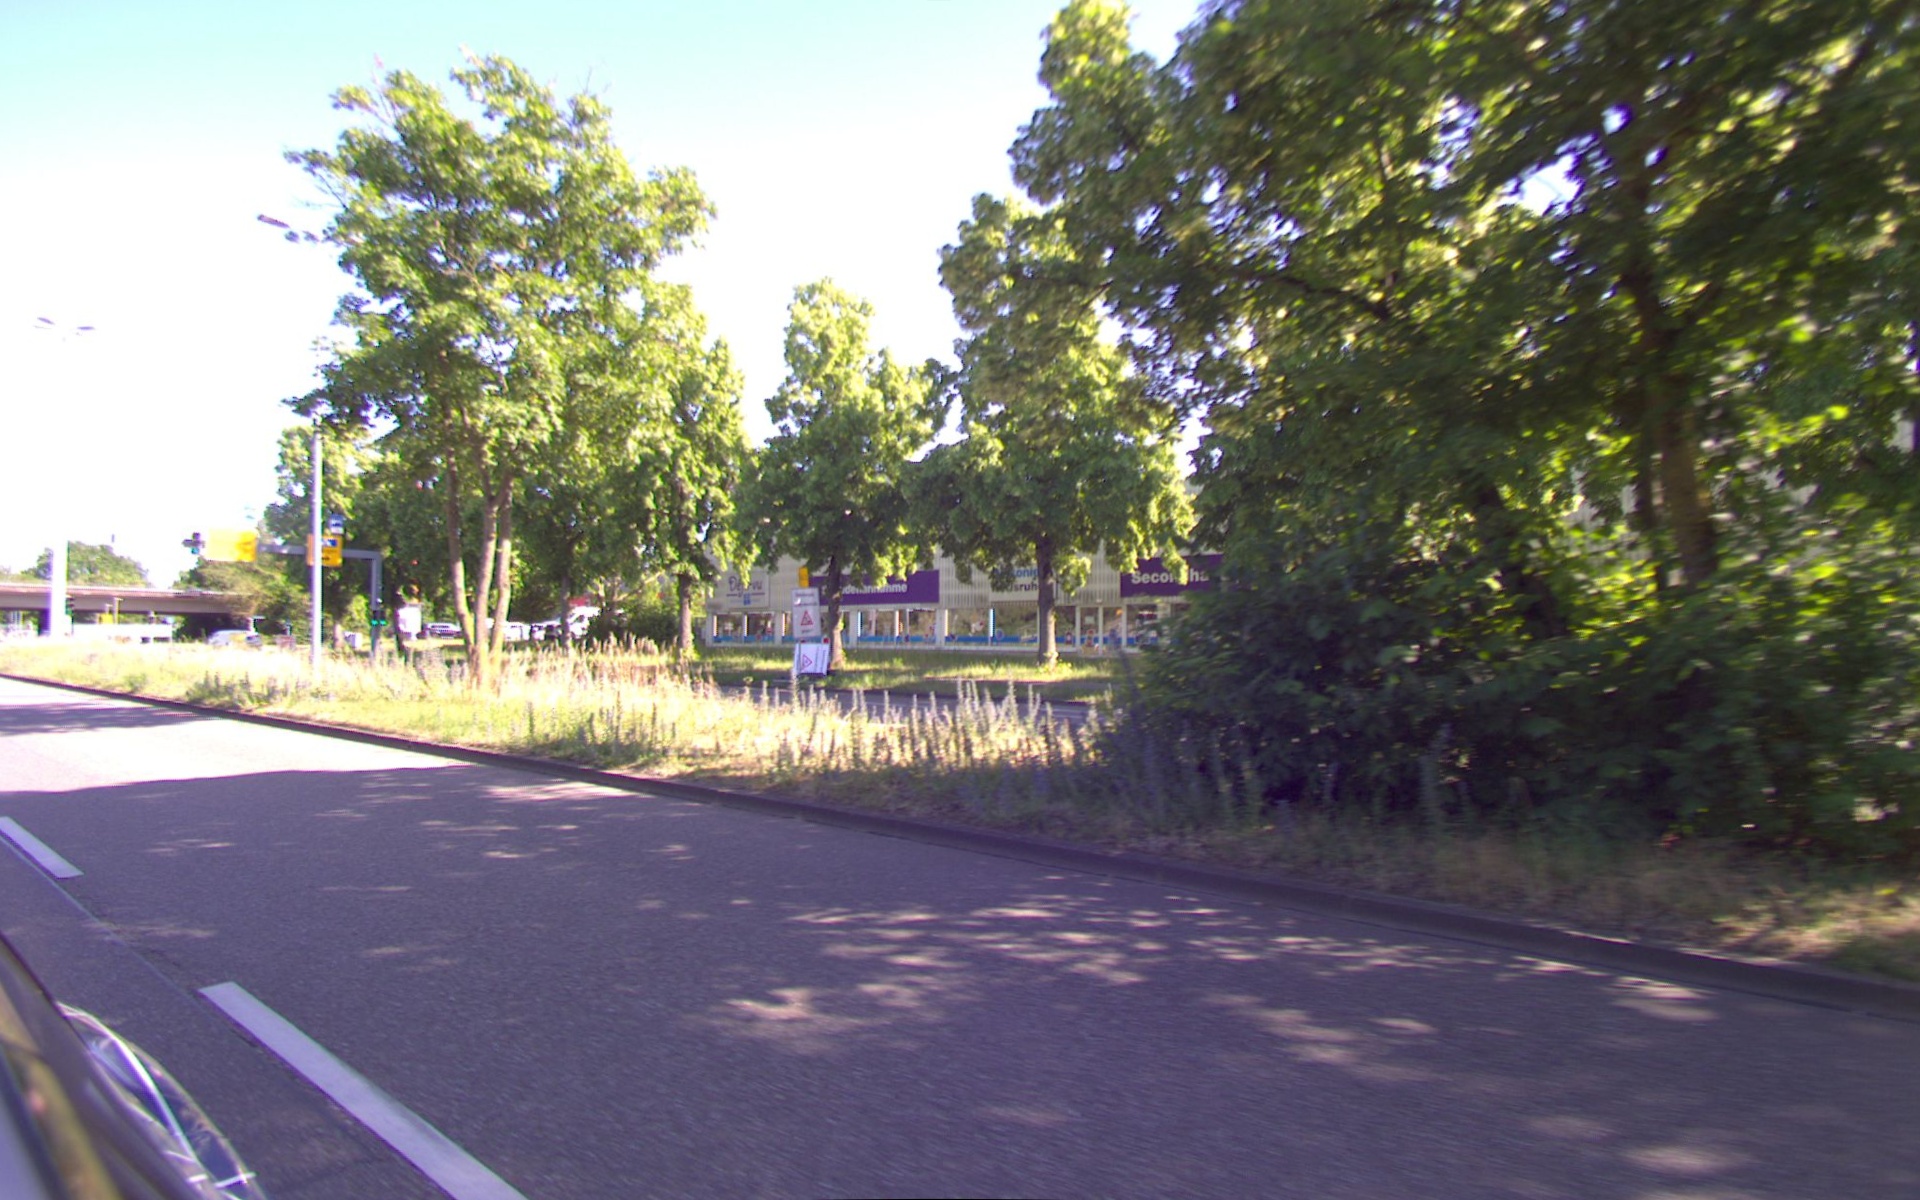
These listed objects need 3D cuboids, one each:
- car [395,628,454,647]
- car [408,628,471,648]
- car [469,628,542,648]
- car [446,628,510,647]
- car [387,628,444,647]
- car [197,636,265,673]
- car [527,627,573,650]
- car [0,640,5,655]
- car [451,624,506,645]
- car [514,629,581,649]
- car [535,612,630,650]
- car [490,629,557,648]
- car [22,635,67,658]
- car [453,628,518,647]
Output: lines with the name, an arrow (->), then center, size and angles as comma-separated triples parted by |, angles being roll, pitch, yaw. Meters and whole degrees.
car -> -45.597, 3.194, 86.286 | 1.819, 1.563, 4.071 | -2, -4, 44
car -> -42.184, 3.100, 82.101 | 1.946, 1.563, 4.073 | -2, -4, 42
car -> -34.155, 2.874, 76.166 | 1.945, 1.399, 4.572 | -2, -4, 40
car -> -37.645, 2.948, 79.135 | 1.944, 1.399, 4.078 | -2, -4, 38
car -> -47.296, 3.261, 87.956 | 4.066, 1.563, 1.899 | 3, -4, -40
car -> -36.114, 2.670, 50.108 | 4.161, 1.760, 1.689 | -2, -3, 39
car -> -36.564, 3.460, 90.182 | 5.130, 1.971, 1.760 | -2, -4, 44
car -> -99.143, 4.793, 103.306 | 4.568, 1.554, 1.857 | -2, -5, 40
car -> -50.505, 3.663, 106.221 | 4.987, 2.168, 1.891 | 0, -3, 8
car -> -29.763, 2.815, 73.111 | 1.943, 1.399, 4.081 | -2, -3, 36
car -> -25.900, 2.191, 69.641 | 2.202, 2.452, 5.824 | -2, -3, 36
car -> -32.032, 2.846, 74.365 | 1.943, 1.399, 4.081 | -2, -3, 36
car -> -72.797, 3.715, 80.445 | 4.625, 1.710, 1.922 | -2, -5, 40
car -> -36.185, 2.907, 77.295 | 1.943, 1.399, 4.081 | -2, -3, 36
